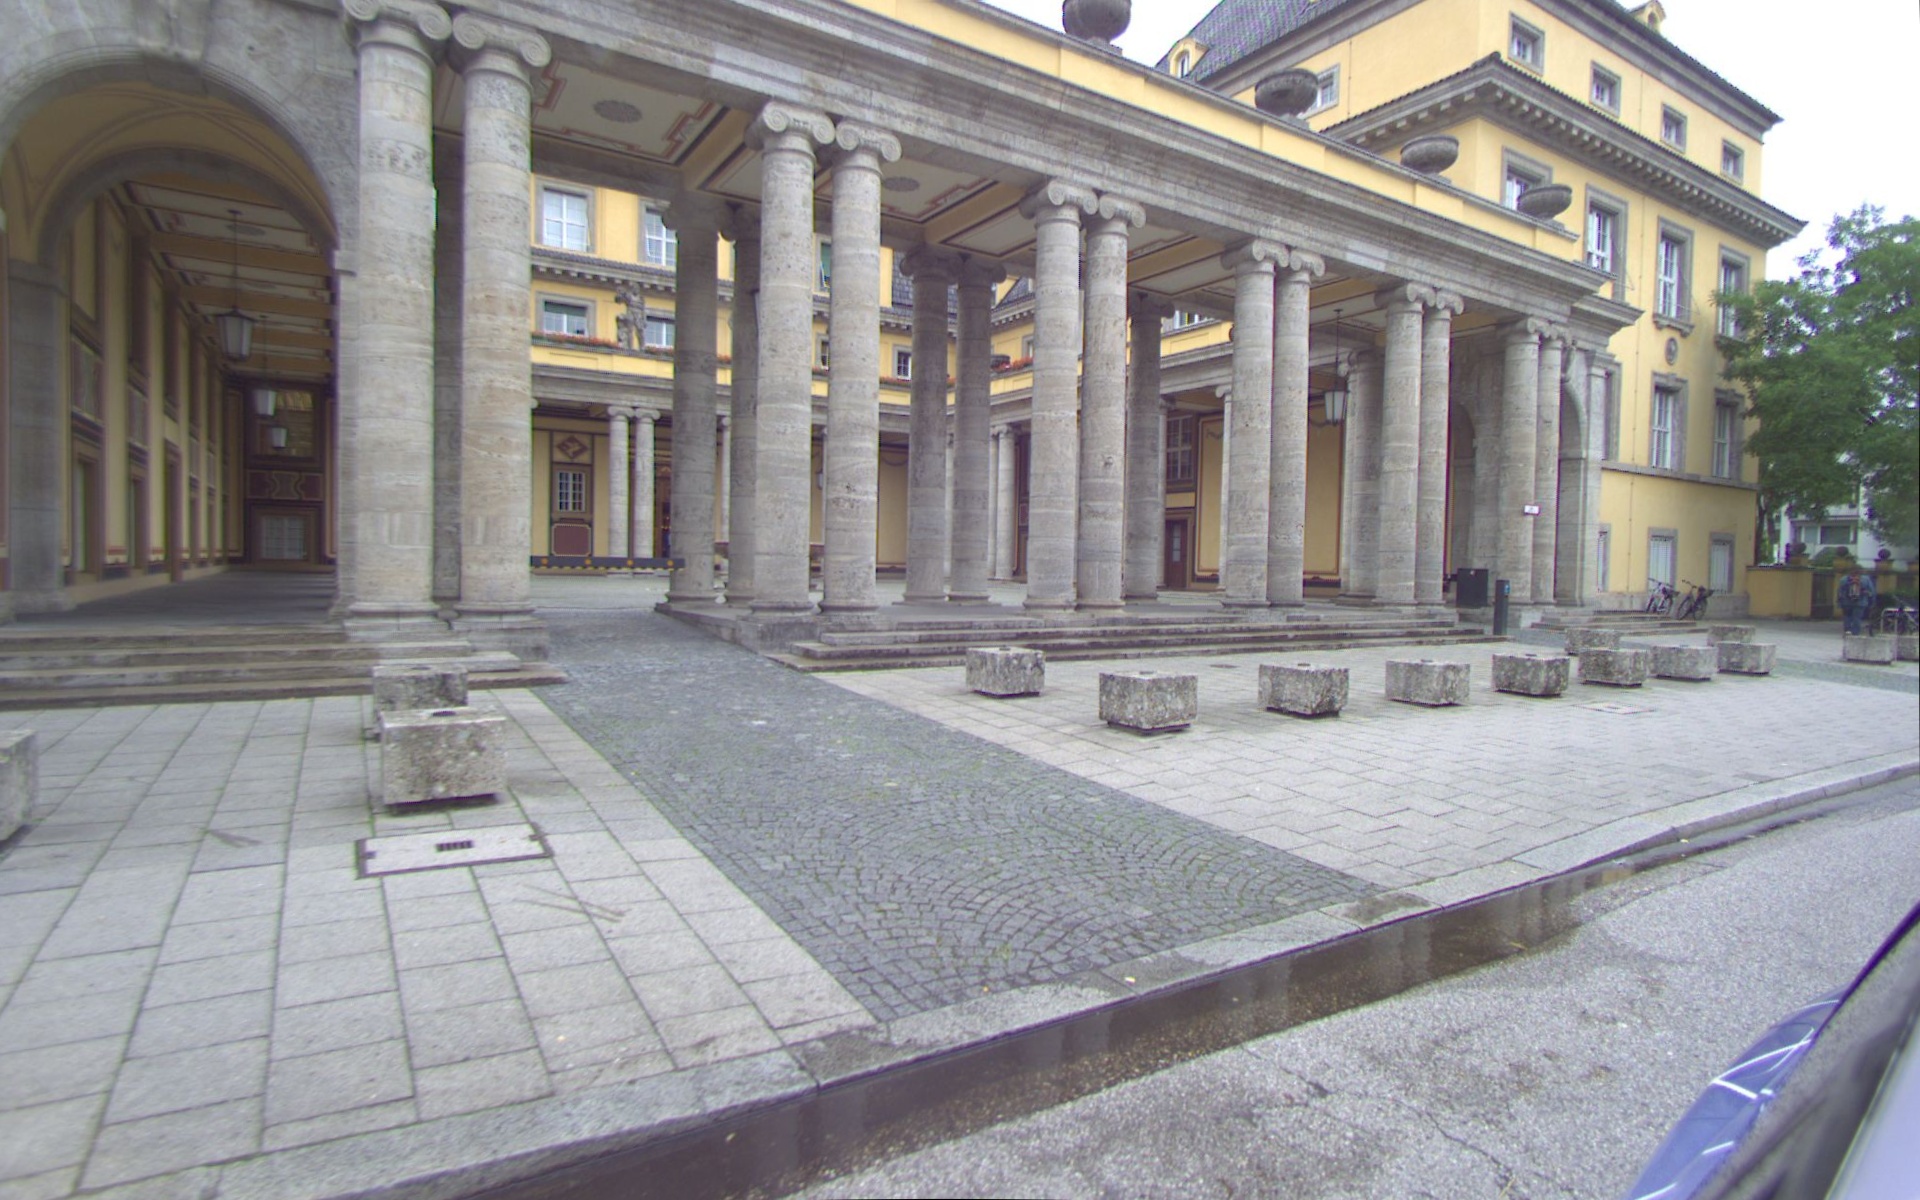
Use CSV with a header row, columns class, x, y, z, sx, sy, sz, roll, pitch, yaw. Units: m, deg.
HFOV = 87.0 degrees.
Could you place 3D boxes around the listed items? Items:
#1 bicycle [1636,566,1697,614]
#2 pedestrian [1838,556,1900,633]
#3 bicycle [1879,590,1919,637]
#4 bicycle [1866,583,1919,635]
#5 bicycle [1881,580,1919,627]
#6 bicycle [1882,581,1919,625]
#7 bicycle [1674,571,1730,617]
class,x,y,z,sx,sy,sz,roll,pitch,yaw
bicycle,20.367,-0.287,29.154,2.220,1.323,0.602,0,3,-33
pedestrian,21.545,-0.148,23.990,1.035,1.767,0.791,0,3,-33
bicycle,22.388,0.368,22.803,0.666,1.018,2.368,0,5,-40
bicycle,23.071,0.284,23.954,0.592,1.107,2.262,-2,9,-43
bicycle,24.422,0.175,25.040,0.592,1.071,2.262,-2,9,-43
bicycle,25.055,0.168,25.715,0.592,1.035,2.262,-2,9,-43
bicycle,22.308,-0.183,30.409,2.123,1.323,0.602,0,3,-33
